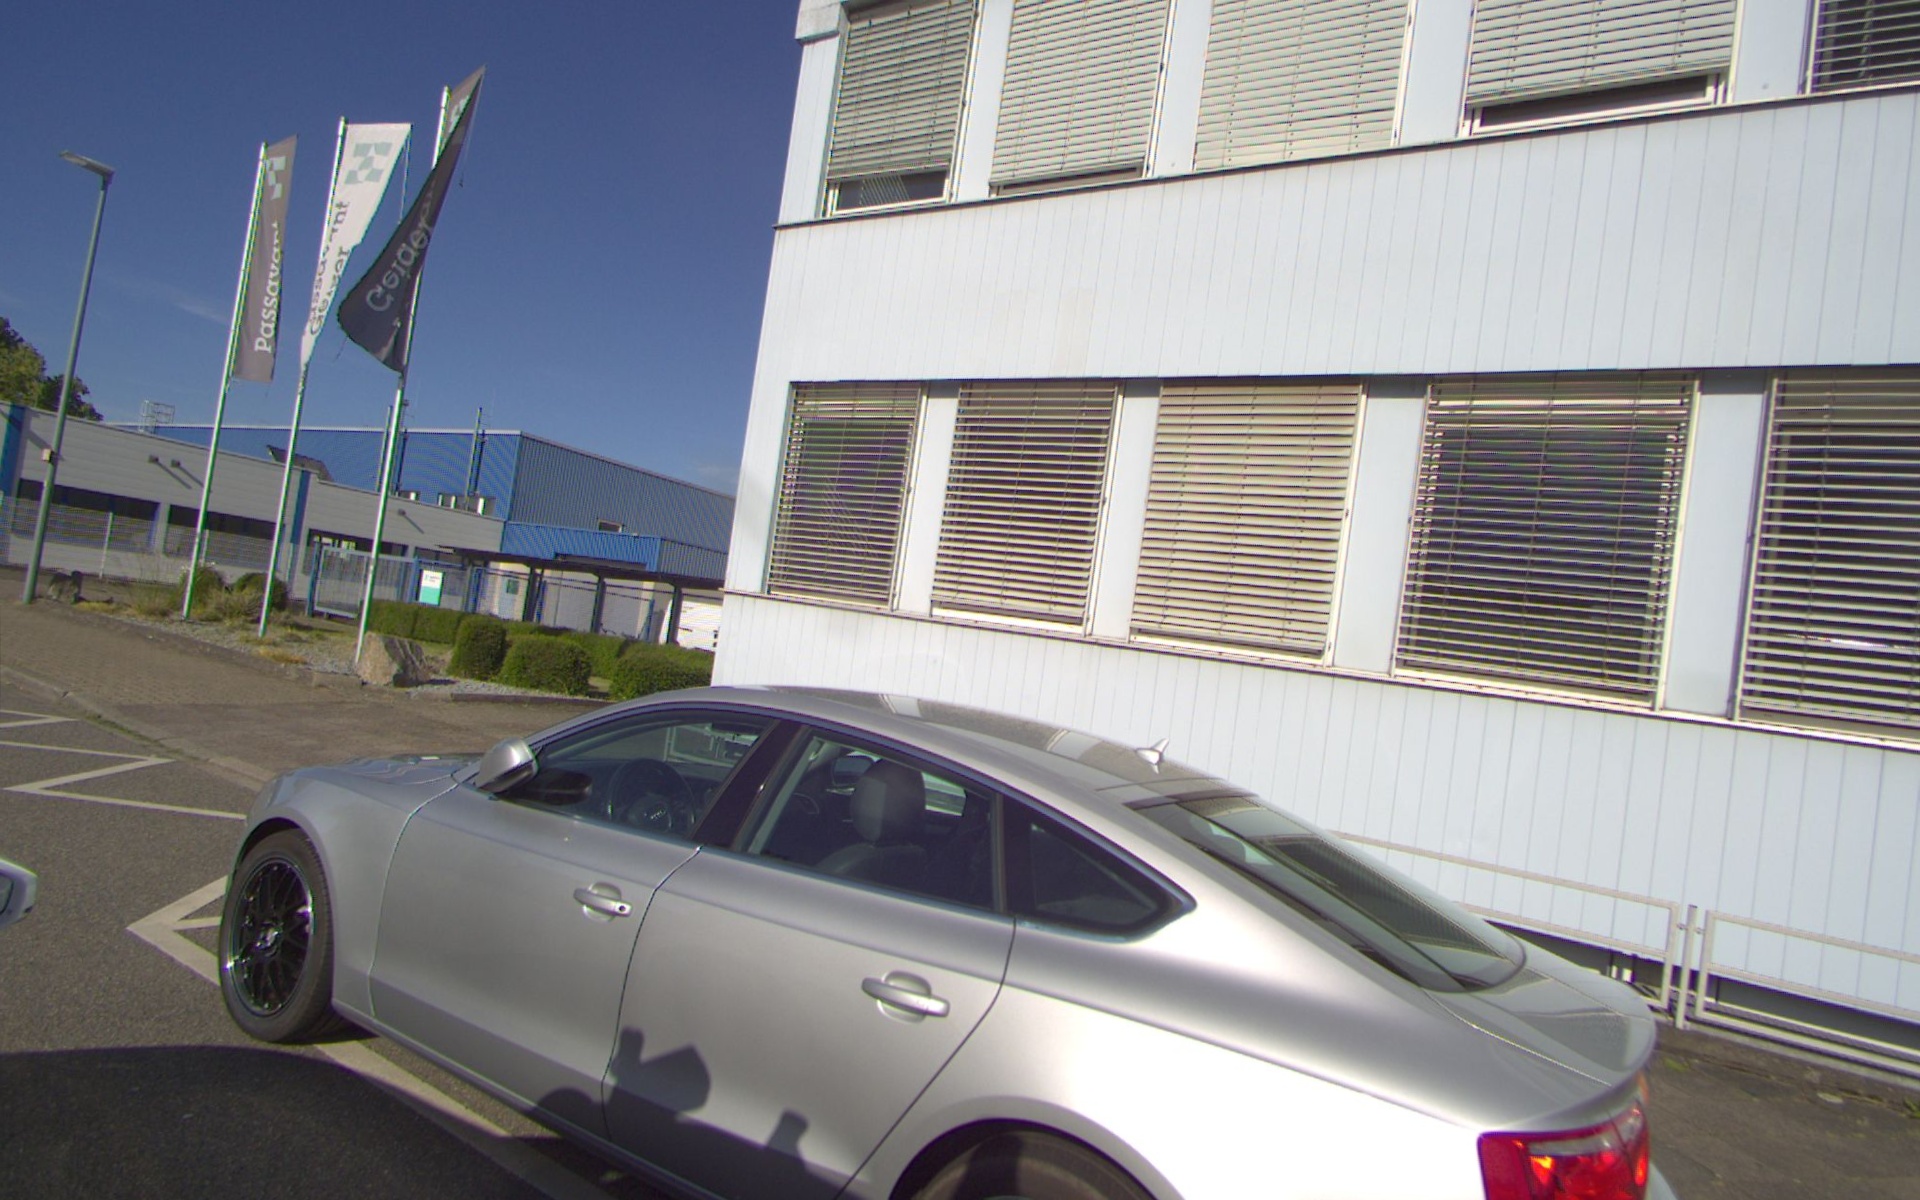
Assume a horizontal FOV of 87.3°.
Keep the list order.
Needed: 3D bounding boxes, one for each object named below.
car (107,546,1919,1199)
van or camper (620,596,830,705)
[{"bbox_3d":[-0.397,0.847,3.198,5.039,1.419,1.901,5,-5,31],"label":"car"},{"bbox_3d":[-7.158,1.467,30.282,6.411,2.406,2.106,5,-5,34],"label":"van or camper"}]
